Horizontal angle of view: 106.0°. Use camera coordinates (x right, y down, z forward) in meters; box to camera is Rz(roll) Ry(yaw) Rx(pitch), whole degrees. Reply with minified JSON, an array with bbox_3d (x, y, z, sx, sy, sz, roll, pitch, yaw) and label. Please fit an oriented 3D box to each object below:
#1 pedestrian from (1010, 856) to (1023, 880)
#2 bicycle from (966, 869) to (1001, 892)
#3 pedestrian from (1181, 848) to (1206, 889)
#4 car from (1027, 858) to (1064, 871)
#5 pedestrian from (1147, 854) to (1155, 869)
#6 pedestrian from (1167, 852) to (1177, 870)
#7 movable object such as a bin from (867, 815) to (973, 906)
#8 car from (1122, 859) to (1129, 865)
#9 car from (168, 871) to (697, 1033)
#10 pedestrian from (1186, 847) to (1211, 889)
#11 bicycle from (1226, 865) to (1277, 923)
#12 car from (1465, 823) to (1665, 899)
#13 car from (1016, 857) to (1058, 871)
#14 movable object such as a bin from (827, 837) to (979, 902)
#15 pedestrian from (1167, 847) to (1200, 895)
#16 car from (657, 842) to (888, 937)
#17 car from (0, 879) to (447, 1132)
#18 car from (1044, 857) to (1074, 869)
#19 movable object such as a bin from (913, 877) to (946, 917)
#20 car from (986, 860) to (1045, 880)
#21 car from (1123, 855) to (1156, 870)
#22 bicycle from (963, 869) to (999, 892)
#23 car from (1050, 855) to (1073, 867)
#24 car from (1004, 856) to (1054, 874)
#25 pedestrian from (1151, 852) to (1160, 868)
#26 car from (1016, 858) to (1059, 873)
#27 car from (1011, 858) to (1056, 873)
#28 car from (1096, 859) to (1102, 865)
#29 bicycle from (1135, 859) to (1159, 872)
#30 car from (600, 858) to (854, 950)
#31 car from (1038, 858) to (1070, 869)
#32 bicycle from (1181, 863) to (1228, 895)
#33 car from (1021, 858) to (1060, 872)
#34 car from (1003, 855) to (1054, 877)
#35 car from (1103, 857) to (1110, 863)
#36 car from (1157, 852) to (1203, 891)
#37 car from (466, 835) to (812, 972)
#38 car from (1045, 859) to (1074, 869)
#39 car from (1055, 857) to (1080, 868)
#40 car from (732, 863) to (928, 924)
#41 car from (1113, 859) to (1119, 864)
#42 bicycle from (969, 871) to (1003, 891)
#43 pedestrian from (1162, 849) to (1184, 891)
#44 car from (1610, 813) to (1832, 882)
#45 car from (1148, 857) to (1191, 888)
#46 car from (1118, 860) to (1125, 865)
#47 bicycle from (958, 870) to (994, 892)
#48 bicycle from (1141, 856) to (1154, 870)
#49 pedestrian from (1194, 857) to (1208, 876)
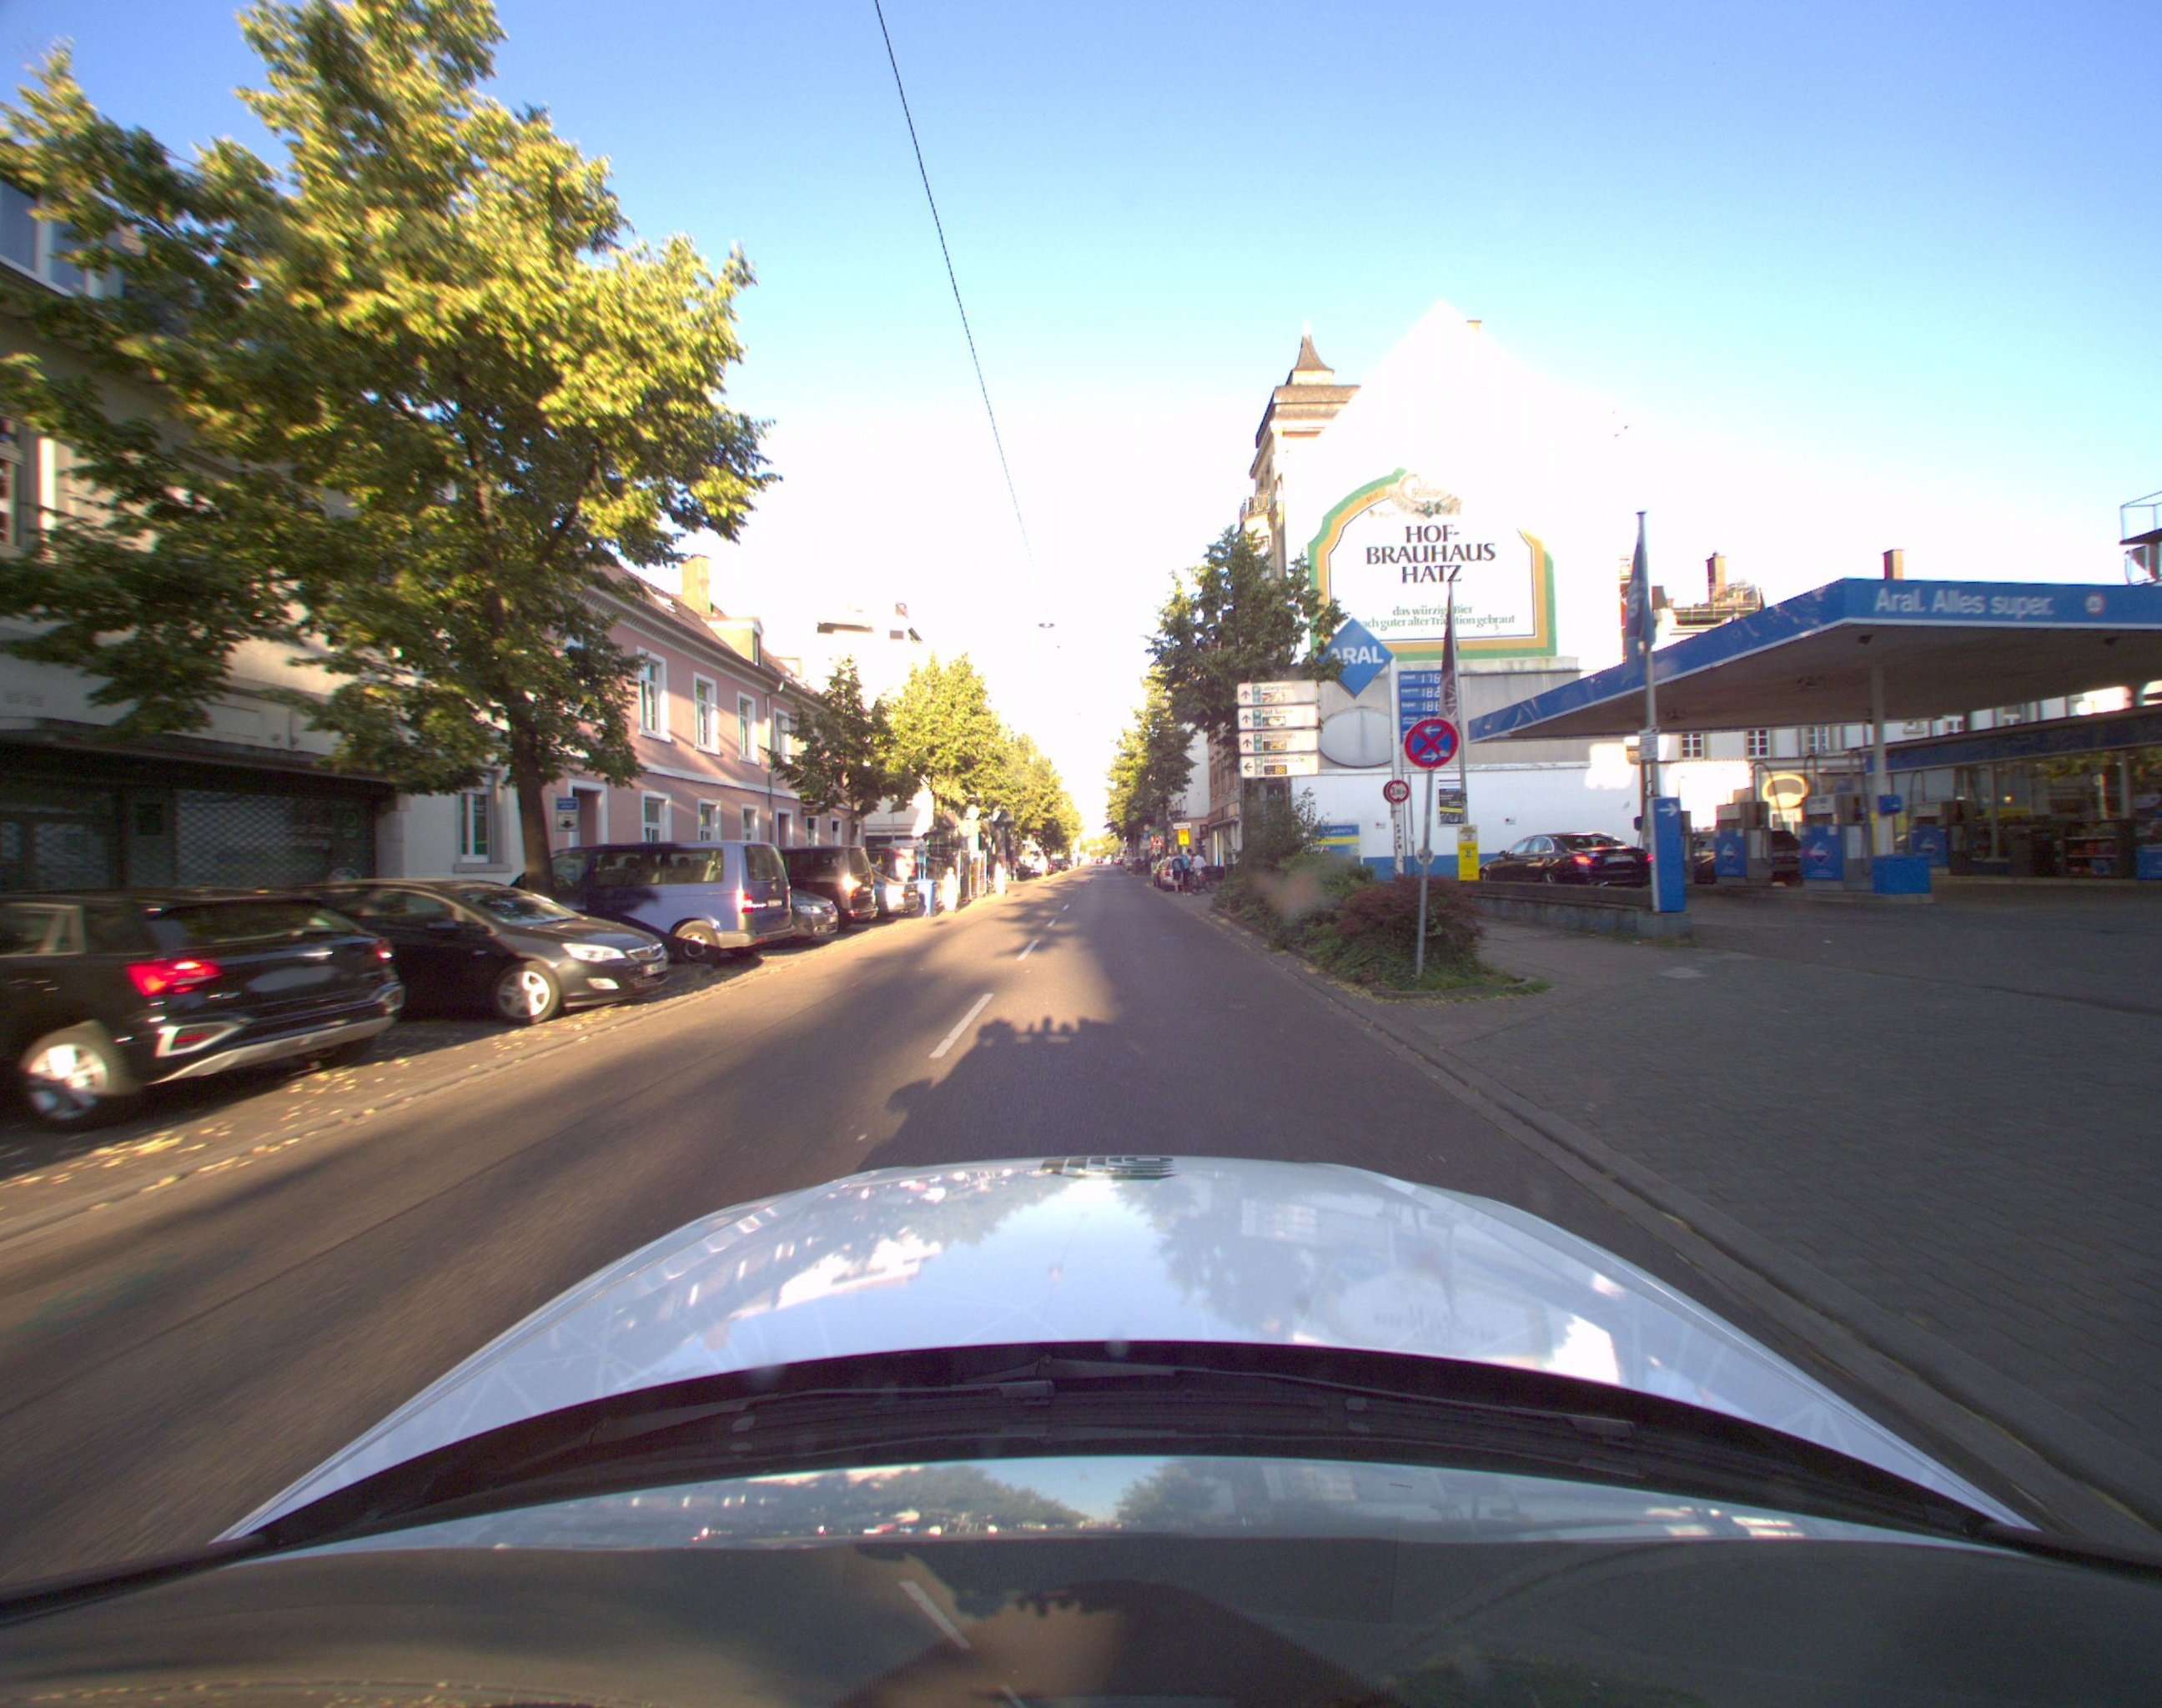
[{"bbox_3d":[-4.638,1.021,58.479,0.706,1.686,0.836,-2,0,11],"label":"pedestrian"},{"bbox_3d":[-4.897,1.329,40.817,1.672,1.079,0.445,1,-2,9],"label":"bicycle"},{"bbox_3d":[4.850,0.605,35.145,0.678,1.706,0.821,-4,0,-13],"label":"pedestrian"},{"bbox_3d":[-4.376,1.294,100.393,4.425,1.568,1.920,-1,-1,2],"label":"car"},{"bbox_3d":[6.704,0.733,77.837,0.723,1.378,0.781,-2,0,2],"label":"pedestrian"},{"bbox_3d":[8.465,0.620,75.538,0.791,1.625,0.915,-2,0,14],"label":"pedestrian"},{"bbox_3d":[-5.729,0.223,29.846,2.615,2.969,5.305,-2,0,2],"label":"movable object such as a bin"},{"bbox_3d":[9.507,1.654,174.000,1.507,1.276,3.306,-1,-1,3],"label":"car"},{"bbox_3d":[-6.928,0.992,9.135,4.317,1.501,1.840,-1,0,-4],"label":"car"},{"bbox_3d":[4.992,0.592,34.534,0.657,1.700,0.660,-4,-1,-43],"label":"pedestrian"},{"bbox_3d":[3.800,0.865,18.087,0.478,1.143,1.691,-5,-1,32],"label":"bicycle"},{"bbox_3d":[10.803,0.197,18.690,1.728,1.431,4.910,-3,-1,2],"label":"car"},{"bbox_3d":[-4.865,1.147,90.767,4.425,1.458,1.860,-1,-1,2],"label":"car"},{"bbox_3d":[-7.299,0.576,33.927,2.285,2.495,5.789,-2,0,45],"label":"movable object such as a bin"},{"bbox_3d":[4.048,0.666,32.115,1.013,1.825,0.778,-4,0,-8],"label":"pedestrian"},{"bbox_3d":[-6.882,0.765,18.544,4.469,1.976,1.965,-1,0,-1],"label":"car"},{"bbox_3d":[-7.436,1.000,6.108,3.905,1.501,1.907,-1,0,4],"label":"car"},{"bbox_3d":[-3.398,1.348,124.351,4.425,1.759,1.920,-1,-1,2],"label":"car"},{"bbox_3d":[-4.406,1.239,23.697,0.687,1.105,0.884,-3,0,3],"label":"movable object such as a bin"},{"bbox_3d":[-5.254,1.254,65.724,4.531,1.541,1.811,-1,-1,0],"label":"car"},{"bbox_3d":[6.768,0.983,94.380,1.654,1.588,3.846,-1,0,44],"label":"car"},{"bbox_3d":[-4.941,1.310,40.231,1.672,1.079,0.445,1,-2,9],"label":"bicycle"},{"bbox_3d":[-3.915,1.391,161.688,4.425,2.435,1.920,-1,-1,2],"label":"car"},{"bbox_3d":[-4.977,1.068,78.765,4.553,1.698,2.061,-1,-1,2],"label":"car"},{"bbox_3d":[9.227,0.756,100.883,0.916,1.926,1.014,0,-1,-8],"label":"pedestrian"},{"bbox_3d":[-4.722,1.242,88.455,4.425,1.484,1.810,-1,-1,2],"label":"car"},{"bbox_3d":[-4.903,1.198,83.887,4.425,1.506,1.845,-1,-1,2],"label":"car"},{"bbox_3d":[5.156,2.257,231.150,1.745,1.540,3.306,-2,-1,3],"label":"car"},{"bbox_3d":[5.653,0.969,69.694,1.935,1.074,0.710,-2,0,33],"label":"bicycle"},{"bbox_3d":[-6.796,0.923,15.956,4.113,1.637,1.861,-1,0,2],"label":"car"},{"bbox_3d":[-3.939,1.377,117.857,4.425,1.523,1.920,-1,-1,2],"label":"car"},{"bbox_3d":[4.871,0.972,32.048,0.856,1.098,1.939,-4,0,40],"label":"bicycle"},{"bbox_3d":[-4.760,1.251,95.753,4.425,1.568,1.920,-1,-1,2],"label":"car"},{"bbox_3d":[-4.857,1.149,76.097,4.555,1.962,1.991,-1,-1,1],"label":"car"},{"bbox_3d":[6.967,1.642,219.913,1.714,1.475,3.306,-2,-1,3],"label":"car"},{"bbox_3d":[4.564,0.776,38.032,1.680,1.575,4.015,-4,0,2],"label":"car"},{"bbox_3d":[-7.006,0.749,13.294,4.466,1.976,2.069,-1,0,2],"label":"car"},{"bbox_3d":[-3.309,1.570,127.469,4.425,1.499,1.920,-1,-1,2],"label":"car"},{"bbox_3d":[-2.552,1.619,151.660,4.425,1.959,1.920,-1,-1,2],"label":"car"},{"bbox_3d":[-6.607,1.024,21.722,4.573,1.470,1.895,-1,0,4],"label":"car"},{"bbox_3d":[9.297,1.890,214.926,1.507,1.298,3.306,-1,-1,3],"label":"car"},{"bbox_3d":[-4.835,1.367,41.539,1.672,1.021,0.445,1,-2,9],"label":"bicycle"},{"bbox_3d":[3.948,0.678,34.997,0.677,1.754,0.823,-2,-1,-9],"label":"pedestrian"},{"bbox_3d":[15.236,-0.096,19.816,1.704,1.402,4.760,-3,-1,2],"label":"car"},{"bbox_3d":[4.546,0.906,42.463,1.778,1.375,4.525,-4,0,1],"label":"car"},{"bbox_3d":[9.614,1.985,192.163,1.507,1.263,3.306,-1,-1,3],"label":"car"},{"bbox_3d":[-5.119,1.308,39.643,1.677,1.079,0.444,1,-2,1],"label":"bicycle"},{"bbox_3d":[5.843,0.802,71.153,0.593,1.178,1.856,-2,0,21],"label":"bicycle"},{"bbox_3d":[7.556,0.804,51.358,0.679,1.141,1.361,-3,-2,2],"label":"pedestrian"}]
